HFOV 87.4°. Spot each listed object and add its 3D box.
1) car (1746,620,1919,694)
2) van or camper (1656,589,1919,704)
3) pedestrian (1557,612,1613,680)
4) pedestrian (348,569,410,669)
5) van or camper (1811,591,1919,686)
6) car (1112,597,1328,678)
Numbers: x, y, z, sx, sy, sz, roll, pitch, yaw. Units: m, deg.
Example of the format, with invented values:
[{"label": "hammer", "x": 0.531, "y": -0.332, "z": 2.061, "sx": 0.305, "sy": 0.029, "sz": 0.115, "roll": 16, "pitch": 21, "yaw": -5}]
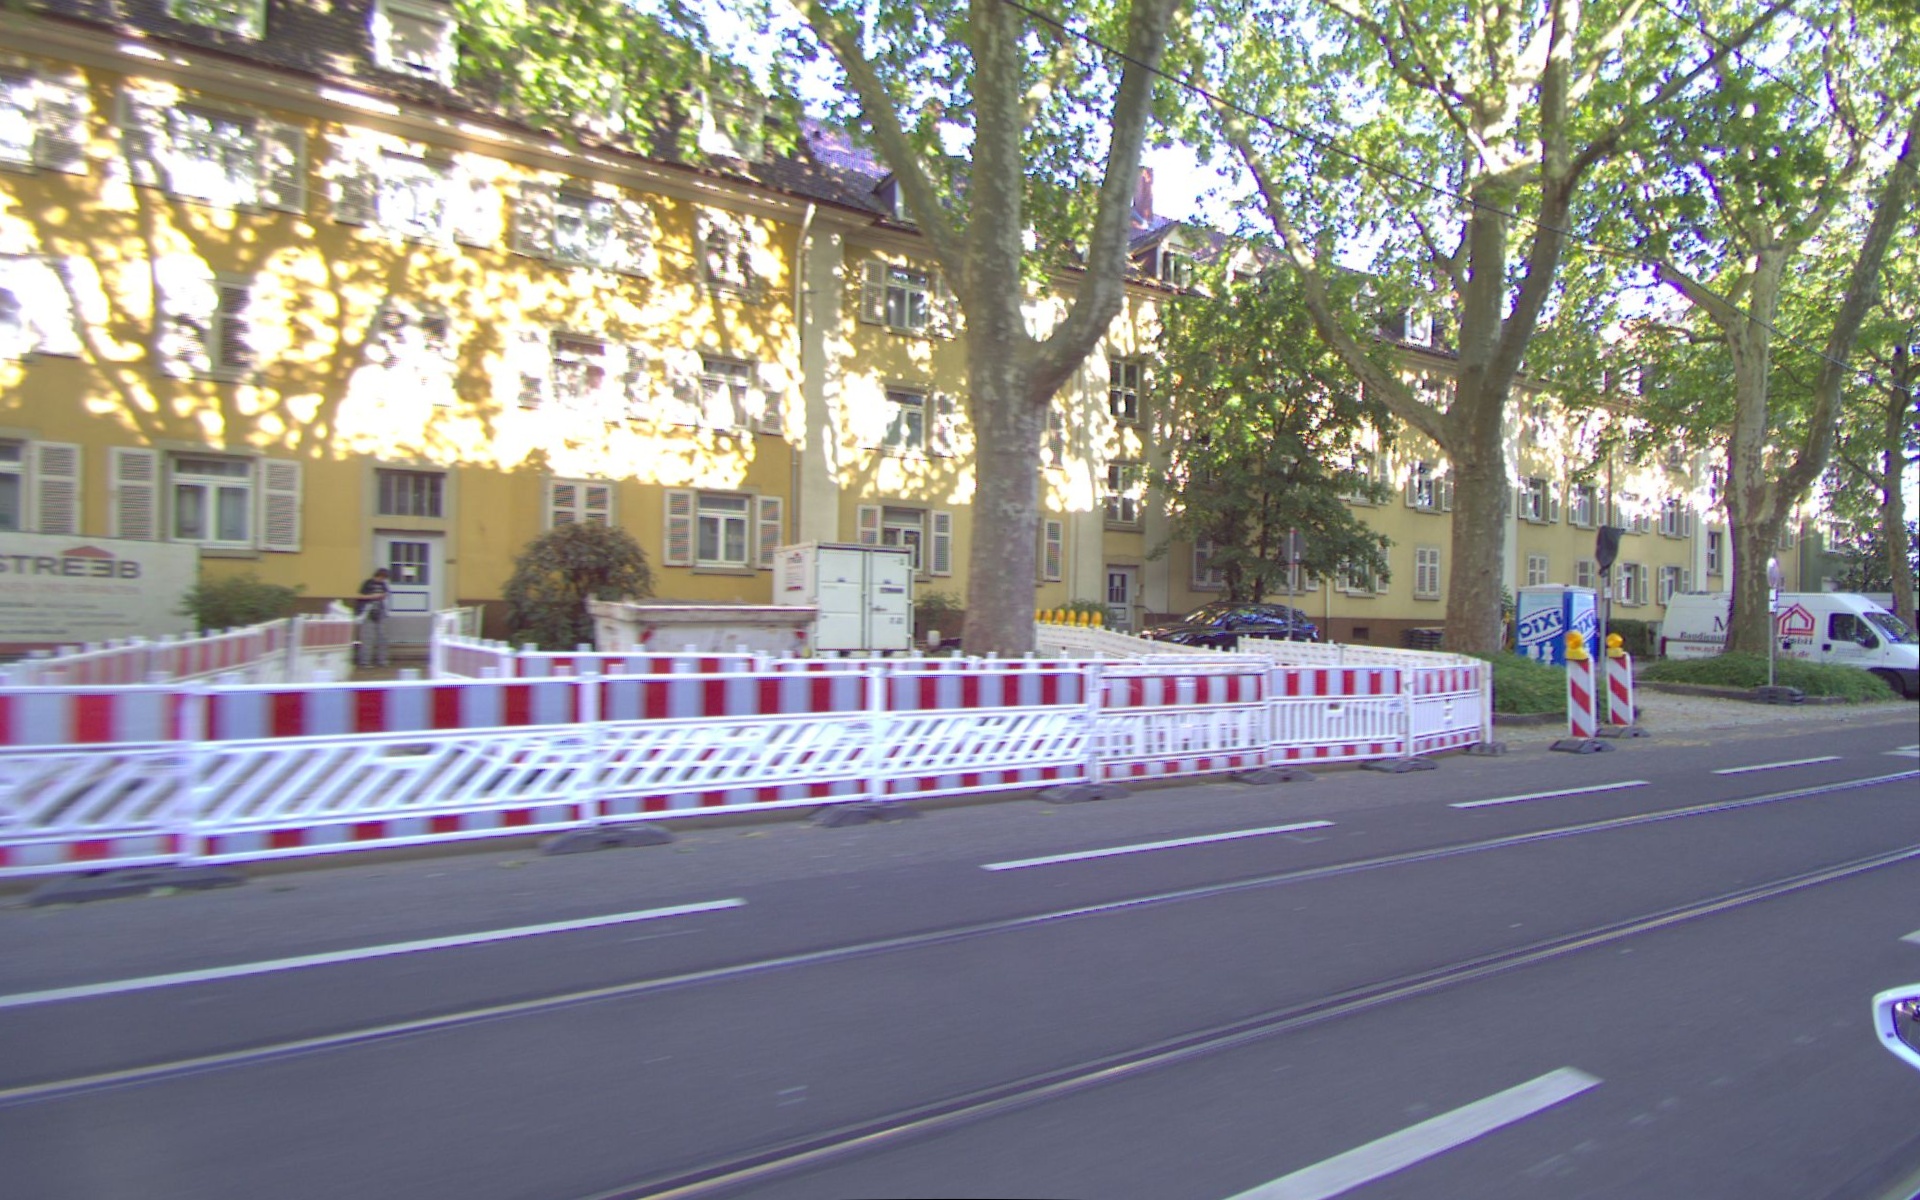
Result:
[{"label": "car", "x": 23.084, "y": 1.419, "z": 25.812, "sx": 1.943, "sy": 1.693, "sz": 4.144, "roll": 1, "pitch": -1, "yaw": -32}, {"label": "van or camper", "x": 20.552, "y": 1.009, "z": 24.460, "sx": 2.239, "sy": 2.411, "sz": 5.483, "roll": 2, "pitch": 0, "yaw": -26}, {"label": "pedestrian", "x": 15.665, "y": 1.146, "z": 25.179, "sx": 0.875, "sy": 1.634, "sz": 0.759, "roll": 1, "pitch": 1, "yaw": -22}, {"label": "pedestrian", "x": -10.052, "y": 0.324, "z": 17.384, "sx": 0.661, "sy": 1.678, "sz": 0.671, "roll": 1, "pitch": 0, "yaw": 28}, {"label": "van or camper", "x": 28.575, "y": 1.145, "z": 28.973, "sx": 2.242, "sy": 2.679, "sz": 5.698, "roll": 2, "pitch": 0, "yaw": -29}, {"label": "car", "x": 5.717, "y": 0.799, "z": 22.043, "sx": 4.459, "sy": 1.592, "sz": 1.784, "roll": 1, "pitch": 1, "yaw": -25}]
